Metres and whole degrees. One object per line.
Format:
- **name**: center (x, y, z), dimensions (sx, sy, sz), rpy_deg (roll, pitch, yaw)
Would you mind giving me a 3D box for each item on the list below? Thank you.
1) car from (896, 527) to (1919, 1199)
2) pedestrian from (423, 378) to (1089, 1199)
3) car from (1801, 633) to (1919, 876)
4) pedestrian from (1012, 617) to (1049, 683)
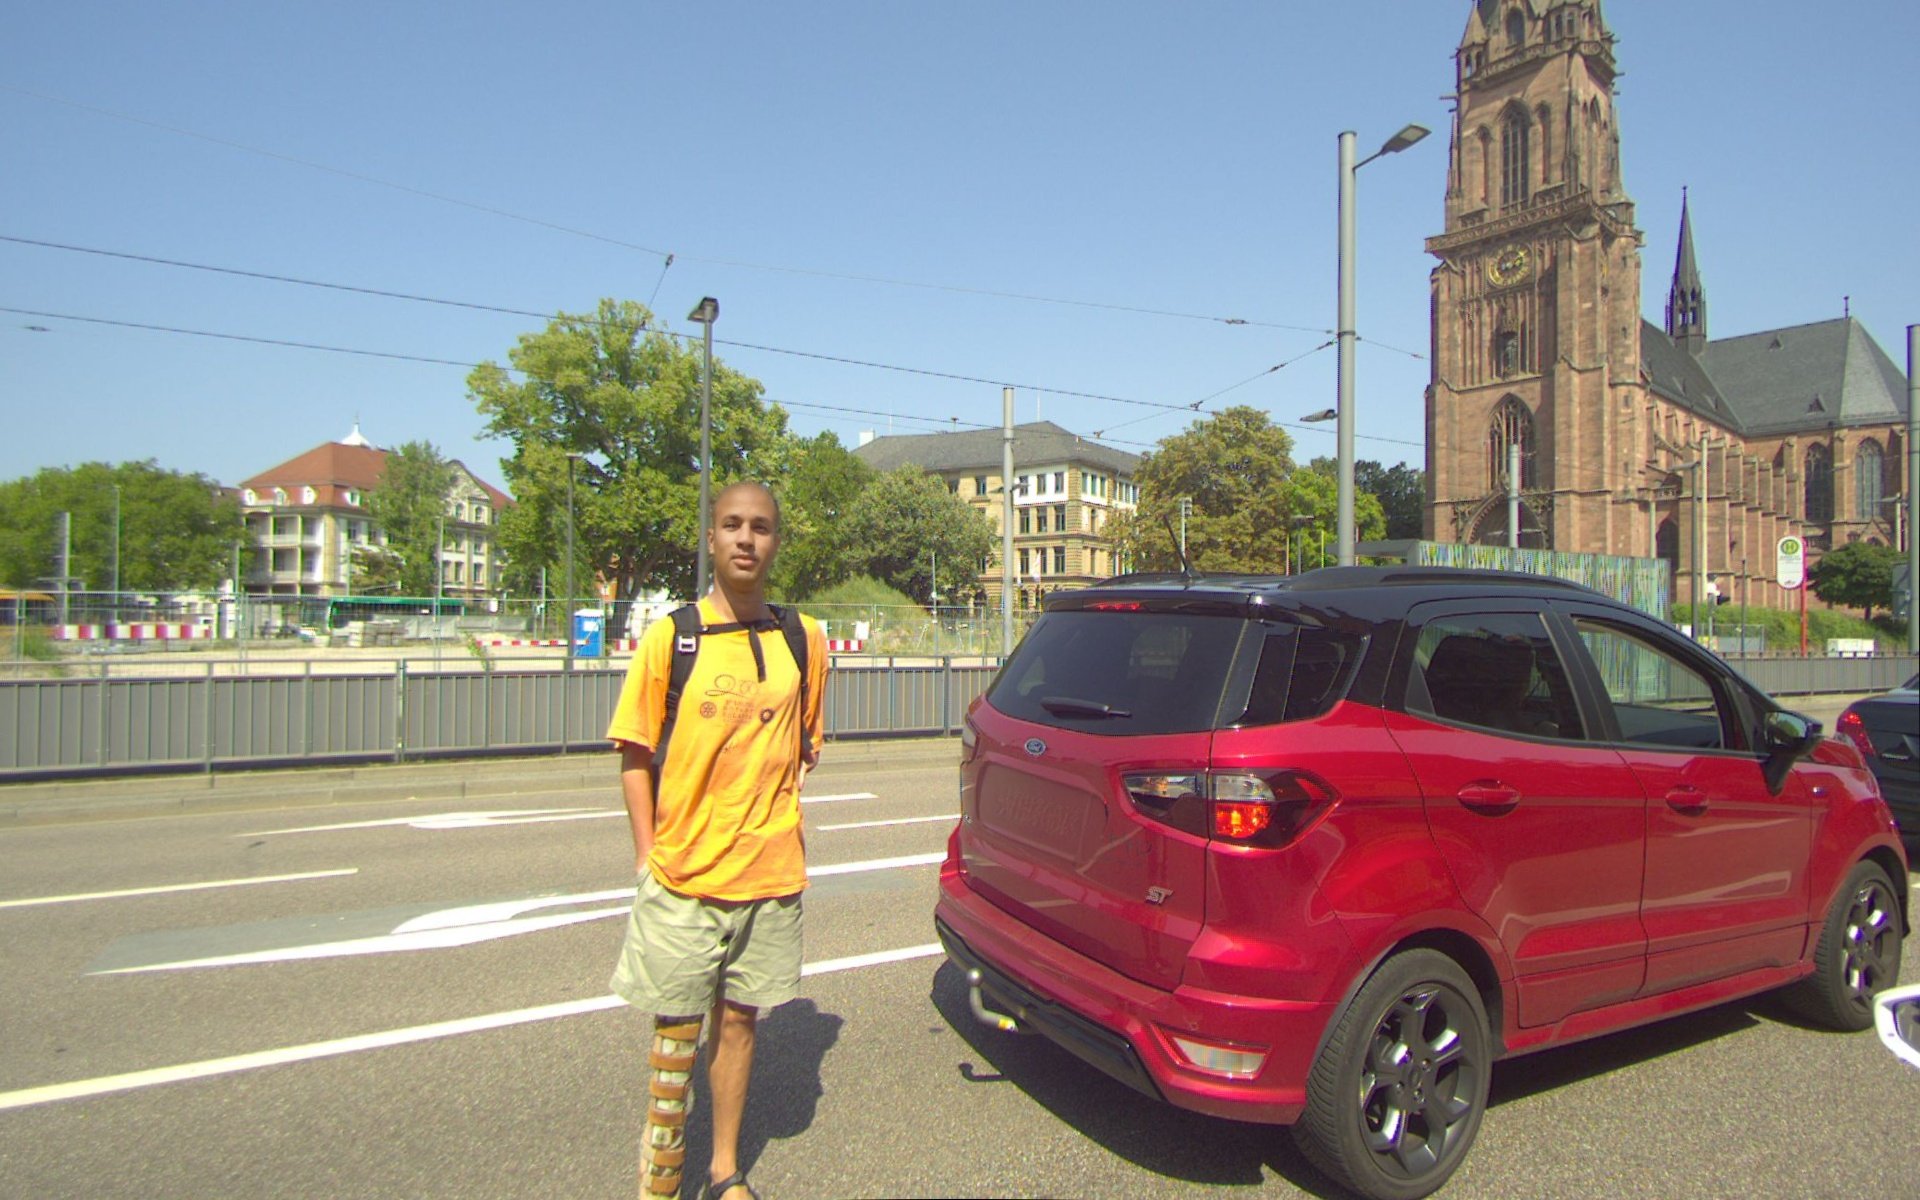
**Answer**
- **car**: center (1.883, 0.710, 3.794), dimensions (3.917, 1.642, 1.624), rpy_deg (2, 0, -28)
- **pedestrian**: center (-0.483, 0.526, 2.383), dimensions (1.220, 1.764, 0.963), rpy_deg (1, 0, 38)
- **car**: center (7.502, 0.977, 6.688), dimensions (3.755, 1.432, 1.681), rpy_deg (1, 0, -29)
- **pedestrian**: center (1.979, 1.399, 28.093), dimensions (0.752, 1.811, 0.741), rpy_deg (1, -2, -28)
